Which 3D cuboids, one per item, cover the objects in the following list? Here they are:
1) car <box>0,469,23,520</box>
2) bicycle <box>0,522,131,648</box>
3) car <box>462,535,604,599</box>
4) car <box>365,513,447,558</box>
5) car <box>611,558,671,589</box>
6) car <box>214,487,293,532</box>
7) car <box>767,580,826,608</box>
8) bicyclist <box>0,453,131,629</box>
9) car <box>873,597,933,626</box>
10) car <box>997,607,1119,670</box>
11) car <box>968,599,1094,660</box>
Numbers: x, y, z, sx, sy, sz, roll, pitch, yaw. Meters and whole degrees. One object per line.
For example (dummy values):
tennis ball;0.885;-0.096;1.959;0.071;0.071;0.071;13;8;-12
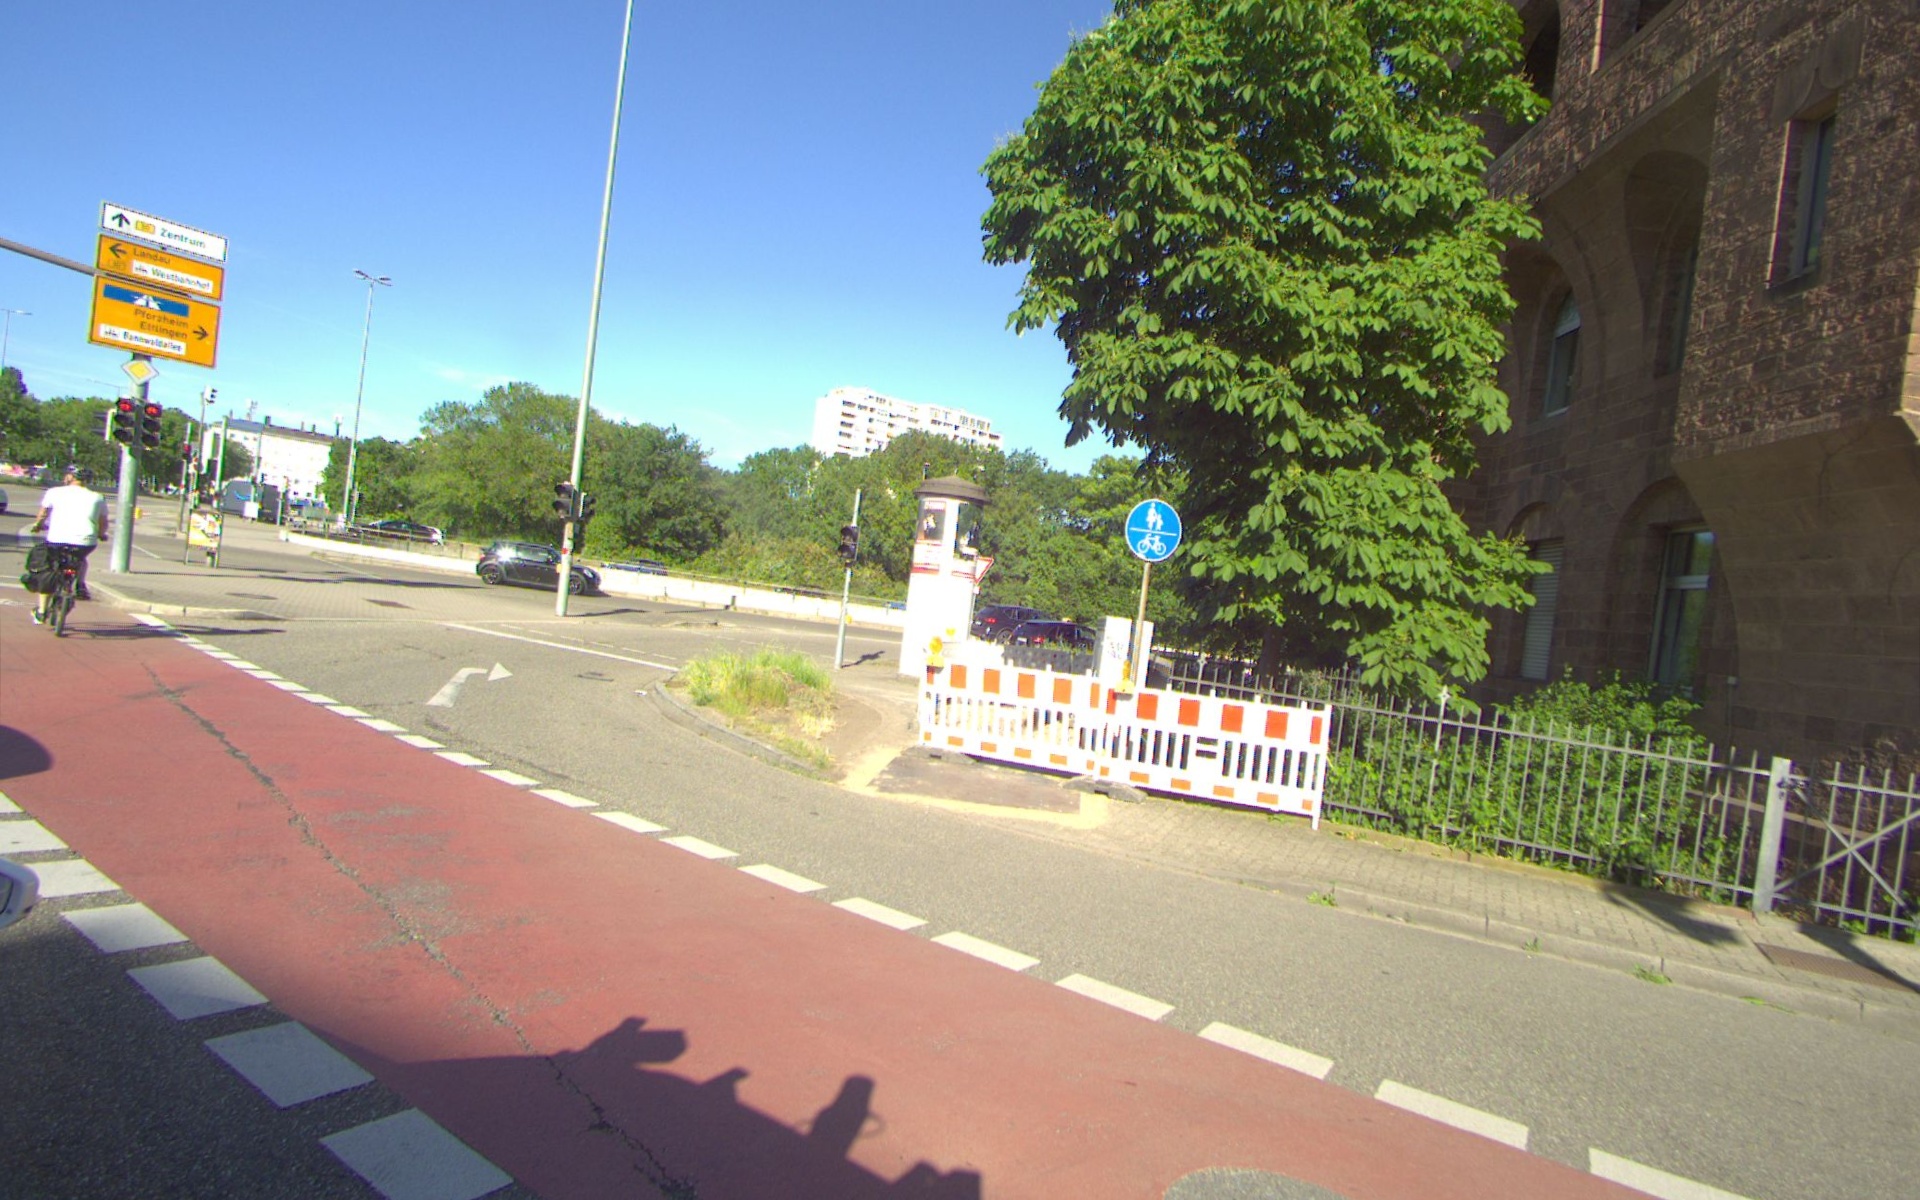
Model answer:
car;-32.541;-3.697;32.063;4.267;1.512;1.757;9;1;14
bicycle;-9.813;-0.209;10.964;0.794;1.124;2.380;8;0;-32
car;-13.871;-1.087;32.931;3.942;1.472;1.990;8;2;-18
car;-33.556;-3.883;61.073;3.943;2.037;1.992;7;-2;-20
car;-22.944;-1.896;72.328;3.943;1.703;1.849;7;-2;-20
car;-50.248;-6.411;71.583;4.798;2.638;2.261;5;-2;24
car;-12.443;-0.451;76.614;3.946;1.681;1.991;7;-2;-22
bicyclist;-9.758;-0.638;10.974;0.794;1.725;1.075;8;1;-33
car;-4.548;0.901;80.122;4.203;1.876;2.010;7;-2;-23
car;3.303;1.304;33.372;3.977;1.512;1.734;9;0;-44
car;2.728;1.126;38.900;4.301;1.857;1.991;7;-2;-22
